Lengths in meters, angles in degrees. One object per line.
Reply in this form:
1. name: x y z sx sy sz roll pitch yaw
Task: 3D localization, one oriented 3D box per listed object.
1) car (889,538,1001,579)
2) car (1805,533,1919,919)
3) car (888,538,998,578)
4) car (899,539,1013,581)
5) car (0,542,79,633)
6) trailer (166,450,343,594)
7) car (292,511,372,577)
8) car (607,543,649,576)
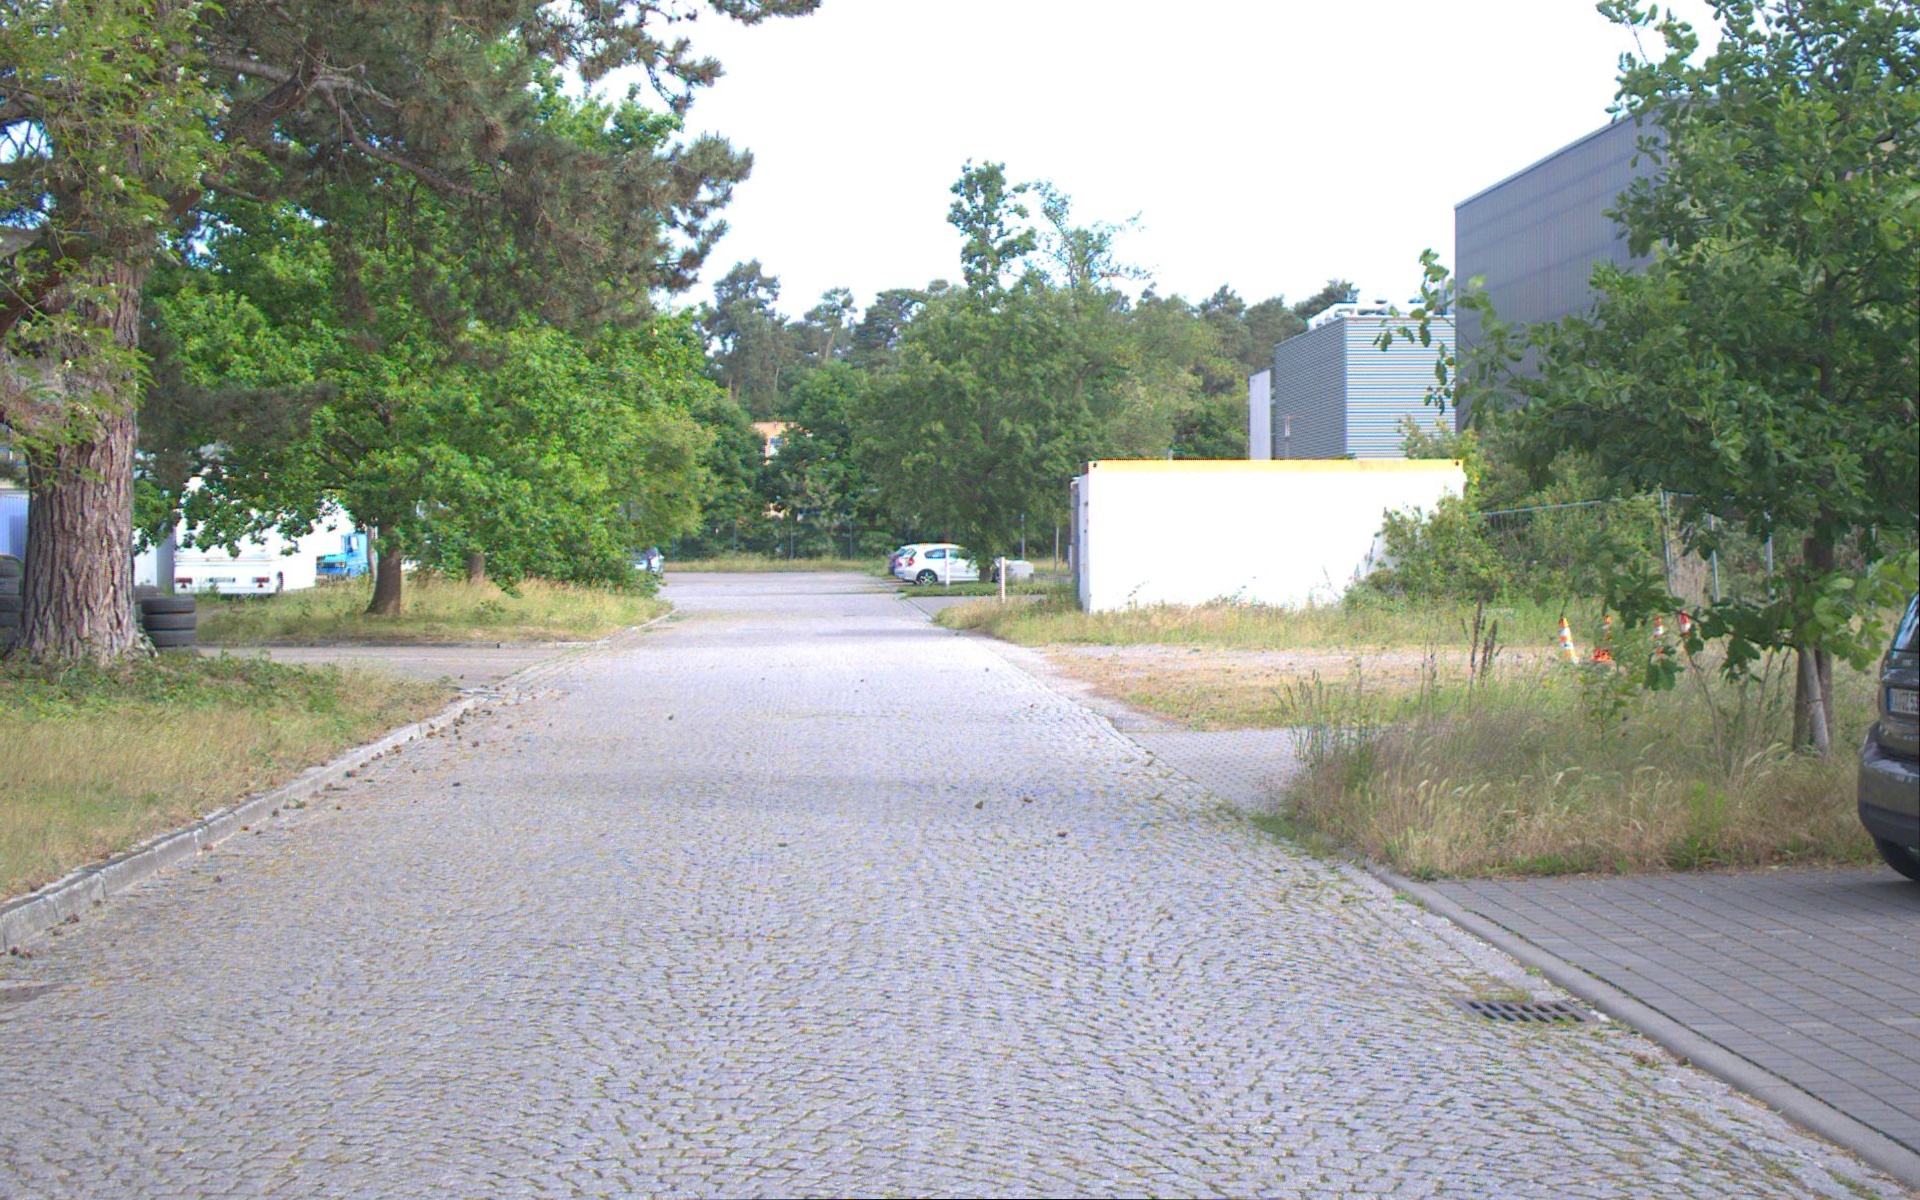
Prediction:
1. car: -0.558 -1.500 124.254 3.986 1.450 1.697 0 1 -2
2. car: 5.282 0.467 14.888 2.741 1.576 1.683 -2 1 -2
3. car: -0.644 -1.557 127.293 3.986 1.450 1.770 0 1 -2
4. car: -0.160 -1.412 122.100 3.986 1.450 2.000 0 0 -2
5. car: -15.884 -0.223 55.863 1.824 1.427 4.218 0 1 3
6. trailer: -19.128 -2.102 93.891 2.656 3.693 10.722 0 1 0
7. car: -24.376 -2.177 133.542 1.993 2.515 5.618 0 1 1
8. car: -14.037 -1.712 145.560 1.748 1.359 4.001 0 1 -5
